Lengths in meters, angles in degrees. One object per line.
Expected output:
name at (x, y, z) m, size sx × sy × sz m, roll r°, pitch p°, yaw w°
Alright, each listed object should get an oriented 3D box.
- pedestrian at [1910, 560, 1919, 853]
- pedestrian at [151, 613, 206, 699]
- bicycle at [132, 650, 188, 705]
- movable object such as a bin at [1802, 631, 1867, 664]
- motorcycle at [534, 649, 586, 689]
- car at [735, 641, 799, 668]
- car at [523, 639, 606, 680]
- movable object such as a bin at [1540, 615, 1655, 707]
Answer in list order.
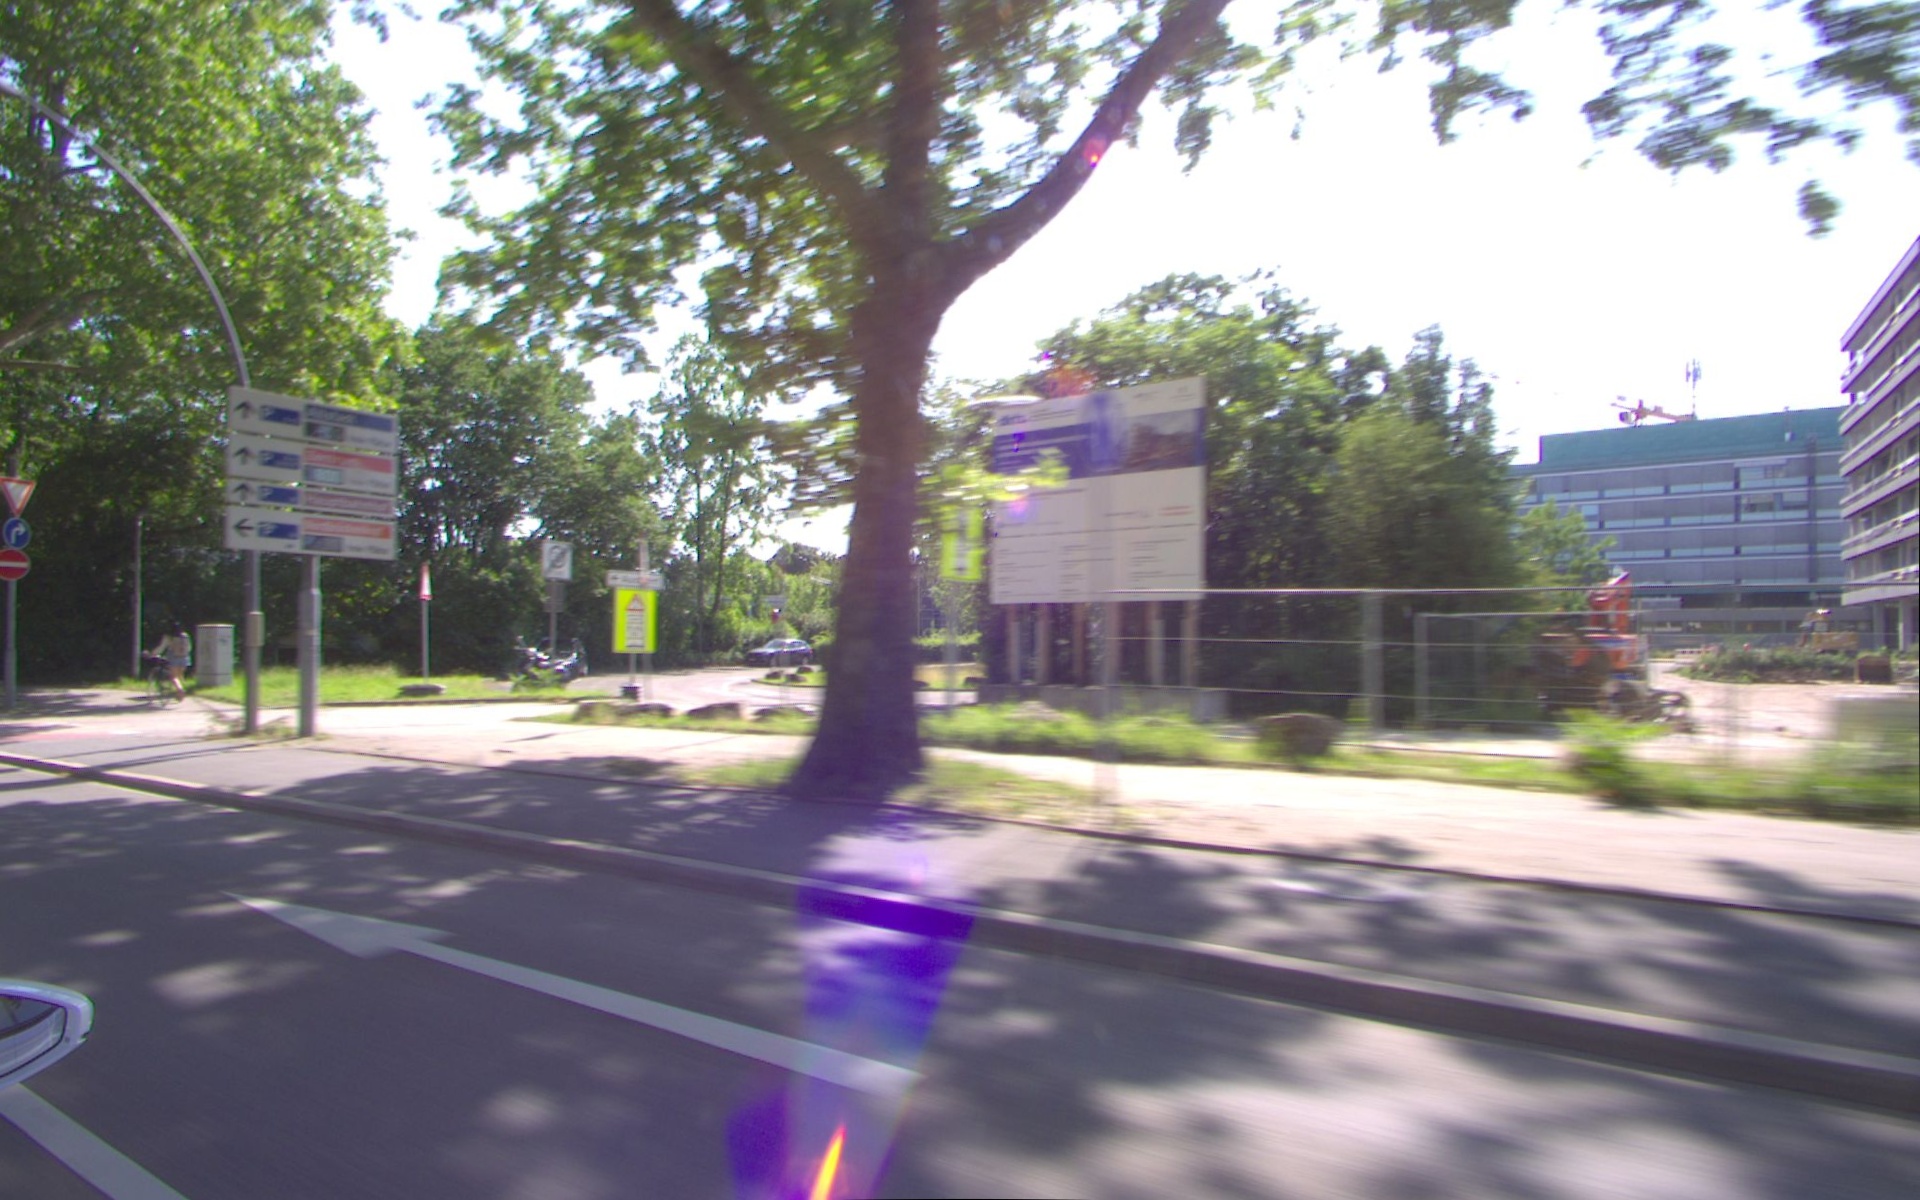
pedestrian at (6.605, 0.679, 5.993) m, size 1.135 × 1.916 × 0.937 m, roll -1°, pitch -2°, yaw 32°
pedestrian at (-16.669, 1.189, 21.368) m, size 0.861 × 1.807 × 0.631 m, roll -1°, pitch -2°, yaw 31°
bicycle at (-16.716, 1.605, 20.918) m, size 1.674 × 1.095 × 0.349 m, roll -1°, pitch -2°, yaw 32°
movable object such as a bin at (56.334, 3.035, 64.565) m, size 2.629 × 2.039 × 2.748 m, roll -1°, pitch -2°, yaw 30°
motorcycle at (-10.043, 1.722, 25.194) m, size 0.463 × 0.979 × 1.220 m, roll 0°, pitch -2°, yaw 25°
car at (-10.943, 3.070, 56.904) m, size 1.655 × 1.472 × 3.992 m, roll 0°, pitch -3°, yaw 22°
car at (-14.749, 2.201, 37.542) m, size 1.651 × 1.472 × 4.002 m, roll 0°, pitch -2°, yaw -2°
movable object such as a bin at (22.761, 2.154, 35.918) m, size 3.247 × 3.012 × 5.170 m, roll -1°, pitch -3°, yaw 32°
